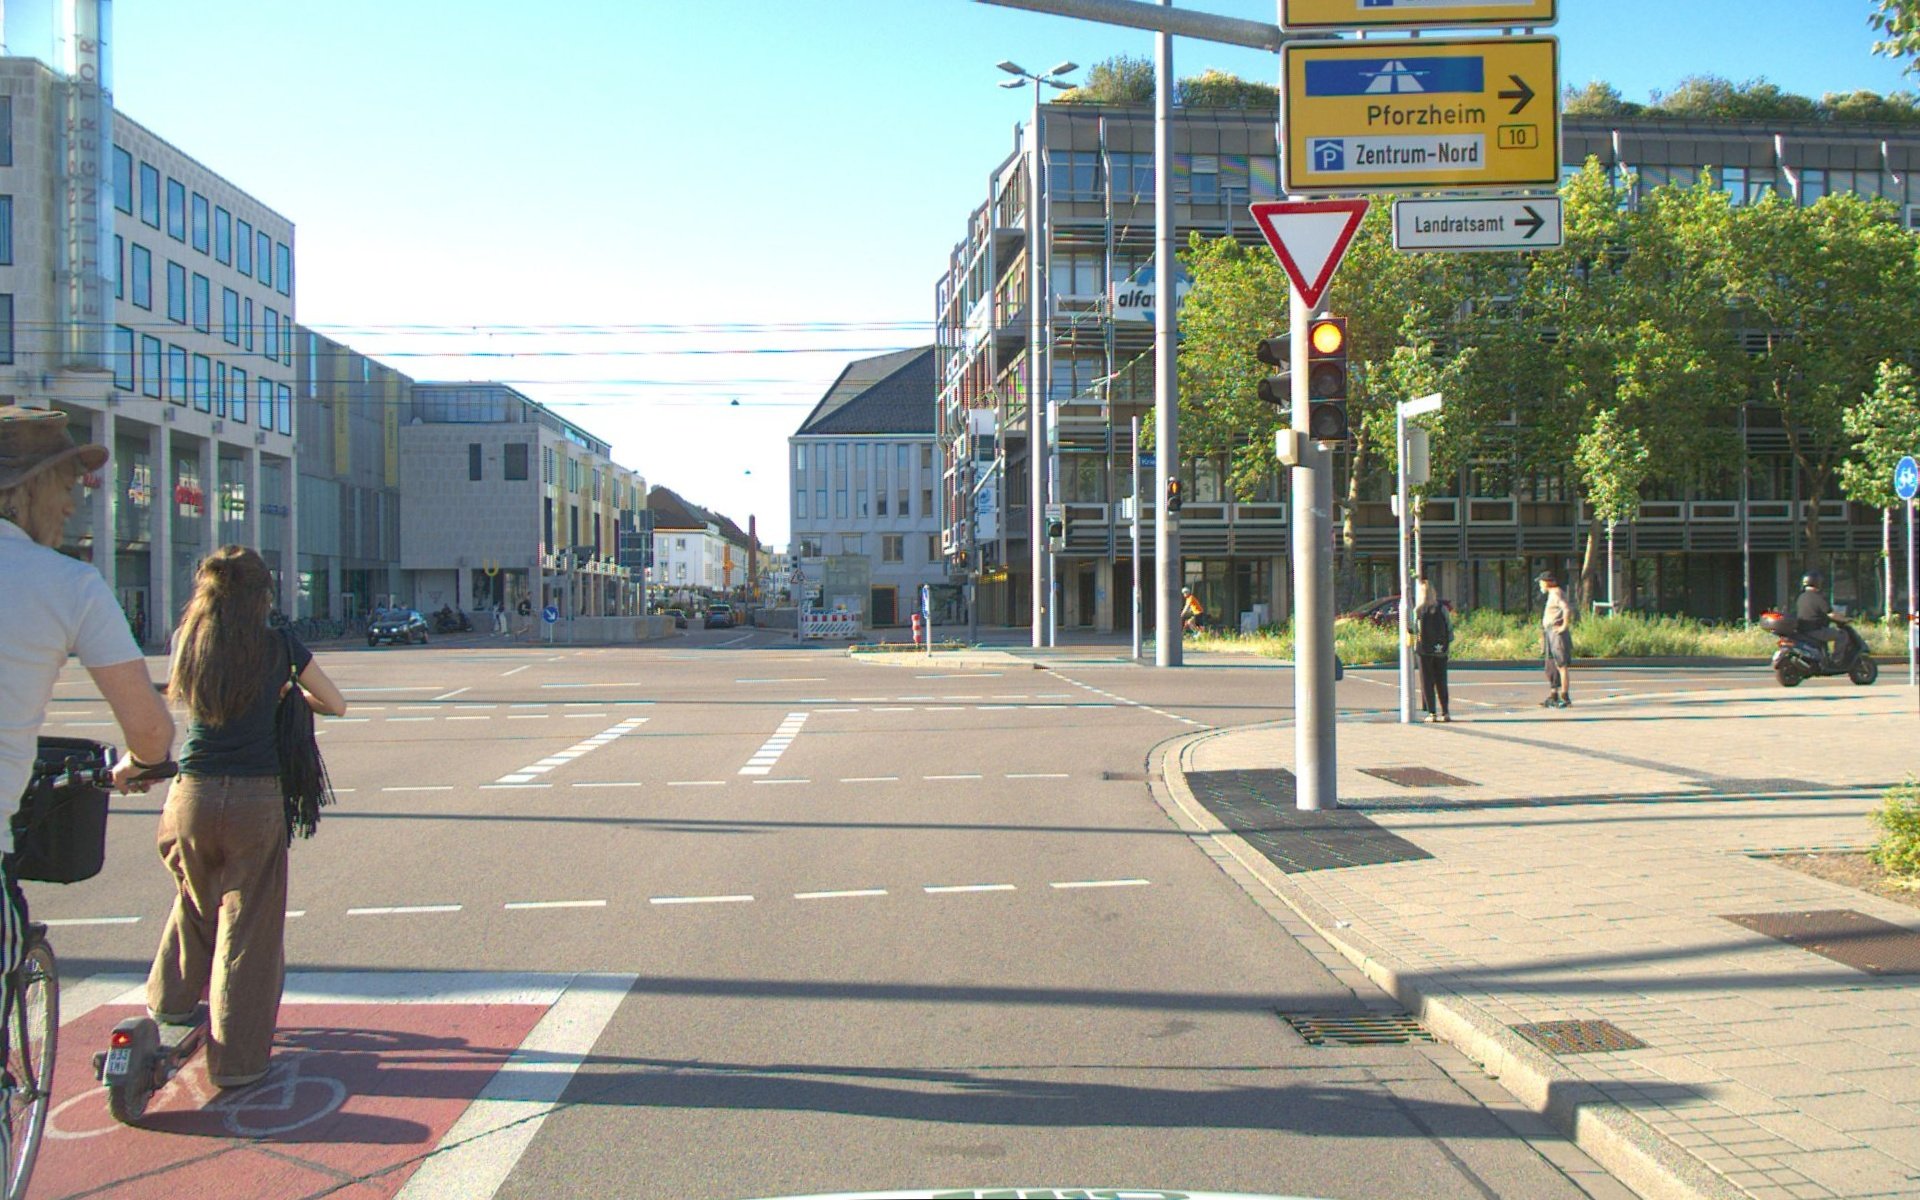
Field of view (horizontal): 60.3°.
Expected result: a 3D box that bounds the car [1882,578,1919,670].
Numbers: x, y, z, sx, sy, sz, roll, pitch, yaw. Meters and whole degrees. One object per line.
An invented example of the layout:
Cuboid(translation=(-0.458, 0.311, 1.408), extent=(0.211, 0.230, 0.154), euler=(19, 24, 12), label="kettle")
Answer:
Cuboid(translation=(18.988, 0.390, 28.827), extent=(4.991, 1.592, 1.995), euler=(-1, 0, -11), label="car")

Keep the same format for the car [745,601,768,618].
Cuboid(translation=(-17.903, 0.820, 145.550), extent=(1.625, 1.484, 3.541), euler=(-1, 0, -1), label="car")

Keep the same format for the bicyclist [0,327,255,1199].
Cuboid(translation=(-1.942, 0.408, 3.196), extent=(0.789, 1.730, 0.851), euler=(0, 0, -1), label="bicyclist")

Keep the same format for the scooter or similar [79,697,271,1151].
Cuboid(translation=(-2.229, 0.871, 4.753), extent=(0.301, 1.127, 0.836), euler=(-1, 0, -12), label="scooter or similar")

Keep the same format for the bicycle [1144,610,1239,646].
Cuboid(translation=(6.595, 0.798, 47.207), extent=(2.517, 0.992, 1.047), euler=(-1, 0, -4), label="bicycle")

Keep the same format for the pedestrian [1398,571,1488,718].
Cuboid(translation=(5.555, 0.502, 19.065), extent=(0.750, 1.642, 0.874), euler=(-1, 0, -2), label="pedestrian")

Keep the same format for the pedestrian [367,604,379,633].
Cuboid(translation=(-36.121, 1.118, 101.724), extent=(0.462, 1.759, 0.518), euler=(0, -1, 38), label="pedestrian")

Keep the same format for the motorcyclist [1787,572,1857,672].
Cuboid(translation=(13.133, 0.326, 25.208), extent=(0.735, 1.505, 0.598), euler=(0, 0, -9), label="motorcyclist")

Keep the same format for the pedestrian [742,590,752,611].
Cuboid(translation=(-21.148, 0.046, 164.363), extent=(0.892, 1.999, 0.822), euler=(1, -1, -1), label="pedestrian")

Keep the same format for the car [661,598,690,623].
Cuboid(translation=(-20.449, 0.748, 119.064), extent=(1.785, 1.713, 3.994), euler=(-1, 0, -7), label="car")

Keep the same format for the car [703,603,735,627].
Cuboid(translation=(-15.698, 0.960, 107.824), extent=(1.625, 1.484, 3.541), euler=(-1, 0, -1), label="car")

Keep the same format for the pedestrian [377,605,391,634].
Cuboid(translation=(-34.687, 1.164, 99.645), extent=(0.462, 1.759, 0.626), euler=(1, -1, 33), label="pedestrian")

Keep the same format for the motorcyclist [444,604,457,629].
Cuboid(translation=(-29.968, 0.982, 97.258), extent=(0.616, 1.430, 0.661), euler=(1, -1, -9), label="motorcyclist")

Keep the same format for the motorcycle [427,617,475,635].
Cuboid(translation=(-29.872, 1.534, 97.095), extent=(2.555, 1.010, 1.113), euler=(1, 0, -10), label="motorcycle")

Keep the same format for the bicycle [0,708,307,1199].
Cuboid(translation=(-1.975, 0.859, 3.159), extent=(0.724, 1.167, 1.890), euler=(0, 0, -1), label="bicycle")

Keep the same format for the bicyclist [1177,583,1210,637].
Cuboid(translation=(6.667, 0.280, 47.222), extent=(0.806, 1.500, 0.652), euler=(-1, 0, -5), label="bicyclist")

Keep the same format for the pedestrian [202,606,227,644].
Cuboid(translation=(-32.566, 1.082, 72.276), extent=(0.760, 1.667, 0.626), euler=(-1, 0, 14), label="pedestrian")

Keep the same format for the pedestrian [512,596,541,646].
Cuboid(translation=(-16.424, 0.804, 62.696), extent=(0.923, 1.897, 0.539), euler=(-1, 0, 16), label="pedestrian")

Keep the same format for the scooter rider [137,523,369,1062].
Cuboid(translation=(-2.141, 0.554, 5.052), extent=(0.542, 1.556, 0.448), euler=(-1, 0, -9), label="scooter rider")

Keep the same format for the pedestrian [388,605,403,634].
Cuboid(translation=(-34.245, 1.175, 100.388), extent=(0.462, 1.759, 0.692), euler=(0, -1, 37), label="pedestrian")

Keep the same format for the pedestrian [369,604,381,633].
Cuboid(translation=(-35.733, 1.152, 101.080), extent=(0.462, 1.759, 0.518), euler=(0, -1, 38), label="pedestrian")

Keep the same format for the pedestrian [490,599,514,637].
Cuboid(translation=(-21.750, 0.842, 78.519), extent=(0.881, 1.814, 0.808), euler=(0, 0, -1), label="pedestrian")

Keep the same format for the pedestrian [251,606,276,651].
Cuboid(translation=(-26.820, 1.081, 63.699), extent=(0.685, 1.718, 0.619), euler=(-1, 0, 0), label="pedestrian")

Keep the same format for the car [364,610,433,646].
Cuboid(translation=(-23.524, 1.150, 69.415), extent=(1.642, 1.381, 4.019), euler=(-1, 0, -2), label="car")

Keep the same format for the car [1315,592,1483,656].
Cuboid(translation=(12.337, 0.652, 46.594), extent=(4.212, 1.713, 1.820), euler=(-1, 0, -11), label="car")

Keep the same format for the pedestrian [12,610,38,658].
Cuboid(translation=(-32.987, 1.199, 58.360), extent=(0.580, 1.674, 0.629), euler=(-1, 0, -1), label="pedestrian")

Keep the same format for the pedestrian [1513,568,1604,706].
Cuboid(translation=(7.674, 0.462, 21.225), extent=(0.854, 1.736, 0.768), euler=(-1, 0, -3), label="pedestrian")

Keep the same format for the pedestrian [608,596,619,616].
Cuboid(translation=(-28.732, 0.485, 137.092), extent=(0.668, 1.626, 0.839), euler=(-1, 0, 9), label="pedestrian")

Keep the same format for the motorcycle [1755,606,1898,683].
Cuboid(translation=(13.203, 0.668, 25.215), extent=(1.918, 1.120, 0.648), euler=(-1, 0, -9), label="motorcycle")
